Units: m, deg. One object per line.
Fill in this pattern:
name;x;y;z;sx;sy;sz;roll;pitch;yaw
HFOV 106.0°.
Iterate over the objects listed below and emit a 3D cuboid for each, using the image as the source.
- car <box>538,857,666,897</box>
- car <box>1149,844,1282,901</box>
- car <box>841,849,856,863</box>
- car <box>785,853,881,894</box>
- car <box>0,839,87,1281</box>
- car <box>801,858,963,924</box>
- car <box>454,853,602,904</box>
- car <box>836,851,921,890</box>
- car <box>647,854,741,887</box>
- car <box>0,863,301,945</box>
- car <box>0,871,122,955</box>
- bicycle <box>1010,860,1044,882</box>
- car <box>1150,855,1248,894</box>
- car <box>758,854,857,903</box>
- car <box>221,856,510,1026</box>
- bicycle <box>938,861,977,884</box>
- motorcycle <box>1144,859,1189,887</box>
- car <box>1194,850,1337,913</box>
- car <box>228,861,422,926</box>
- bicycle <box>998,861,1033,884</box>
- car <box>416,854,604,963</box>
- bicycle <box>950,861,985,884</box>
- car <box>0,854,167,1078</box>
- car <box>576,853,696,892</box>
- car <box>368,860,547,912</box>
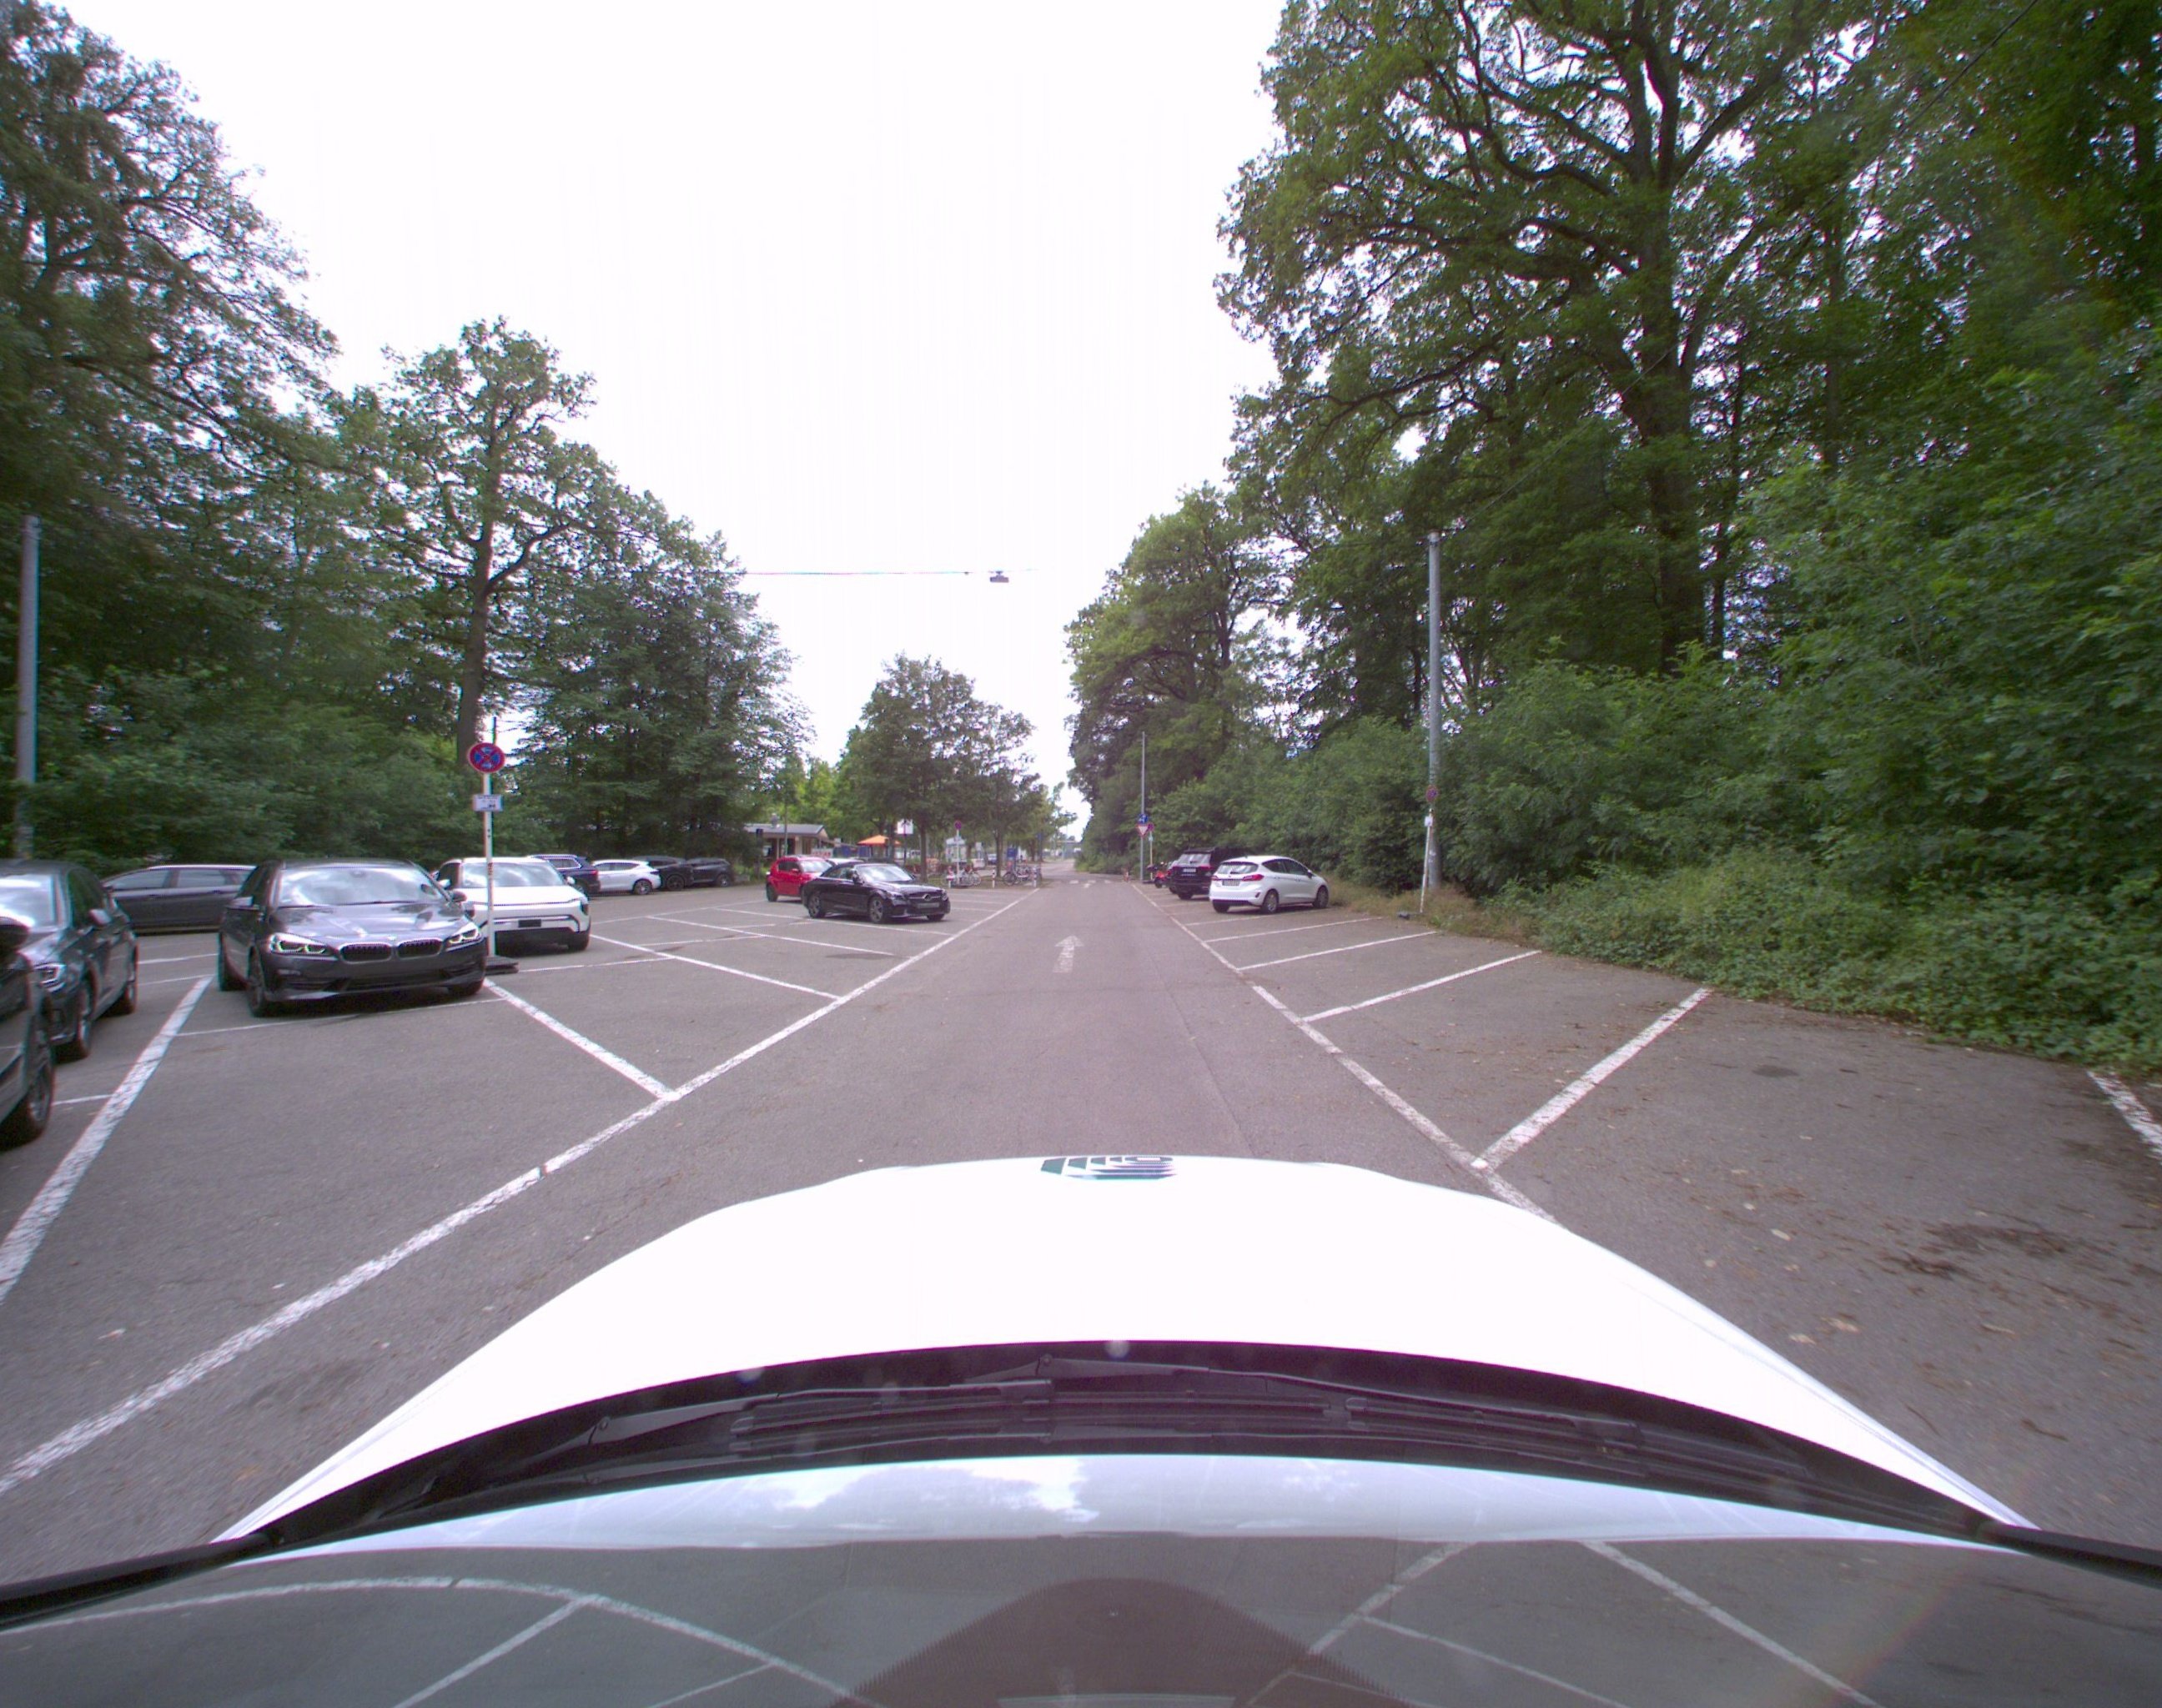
car;-19.053;0.876;32.495;4.142;1.438;1.847;-1;0;-41
car;4.689;0.563;27.884;4.735;1.767;2.086;0;0;-44
car;-32.812;0.251;114.904;1.998;2.013;3.978;0;0;-16
car;-9.831;0.730;32.174;3.950;1.483;1.888;0;1;43
car;-5.307;0.787;2.920;3.950;1.663;1.910;0;0;44
car;-5.020;0.831;20.232;4.262;1.442;1.881;0;0;43
car;-19.451;0.802;28.728;4.142;1.618;1.820;-1;0;-41
car;-8.714;0.656;34.798;1.840;1.523;4.051;-1;1;-42
car;-18.977;0.777;40.000;1.678;1.492;3.814;0;1;45
car;-19.573;0.969;17.393;4.211;1.457;1.783;0;0;-44
car;-19.719;1.035;13.857;1.941;1.377;4.288;0;0;44
bicycle;-2.823;0.878;42.424;1.682;1.111;0.484;0;0;8
car;4.716;0.750;32.113;4.023;1.376;1.719;-1;1;-44
car;-9.478;0.799;28.116;3.608;1.585;1.697;0;0;43
car;-8.427;0.810;9.492;3.948;1.554;1.885;0;0;39
bicycle;-6.051;0.887;39.969;1.775;1.111;0.483;0;0;3
motorcycle;3.851;0.853;36.812;2.037;1.207;0.723;-1;0;-34
car;5.044;0.666;21.953;4.023;1.510;1.847;0;0;-44
car;-19.594;0.951;21.281;3.602;1.505;1.714;0;0;-42
bicycle;-3.340;0.932;41.415;1.671;1.111;0.507;0;0;6
car;-9.953;0.802;14.063;4.137;1.596;1.858;0;0;43
bicycle;-5.755;0.946;41.409;1.672;1.111;0.483;0;0;3
car;-9.340;0.807;6.906;1.858;1.587;3.928;0;0;-45
car;-19.436;0.760;35.710;1.933;1.580;4.228;0;1;44
car;-19.343;0.936;25.404;4.318;1.413;1.905;-1;0;-40
